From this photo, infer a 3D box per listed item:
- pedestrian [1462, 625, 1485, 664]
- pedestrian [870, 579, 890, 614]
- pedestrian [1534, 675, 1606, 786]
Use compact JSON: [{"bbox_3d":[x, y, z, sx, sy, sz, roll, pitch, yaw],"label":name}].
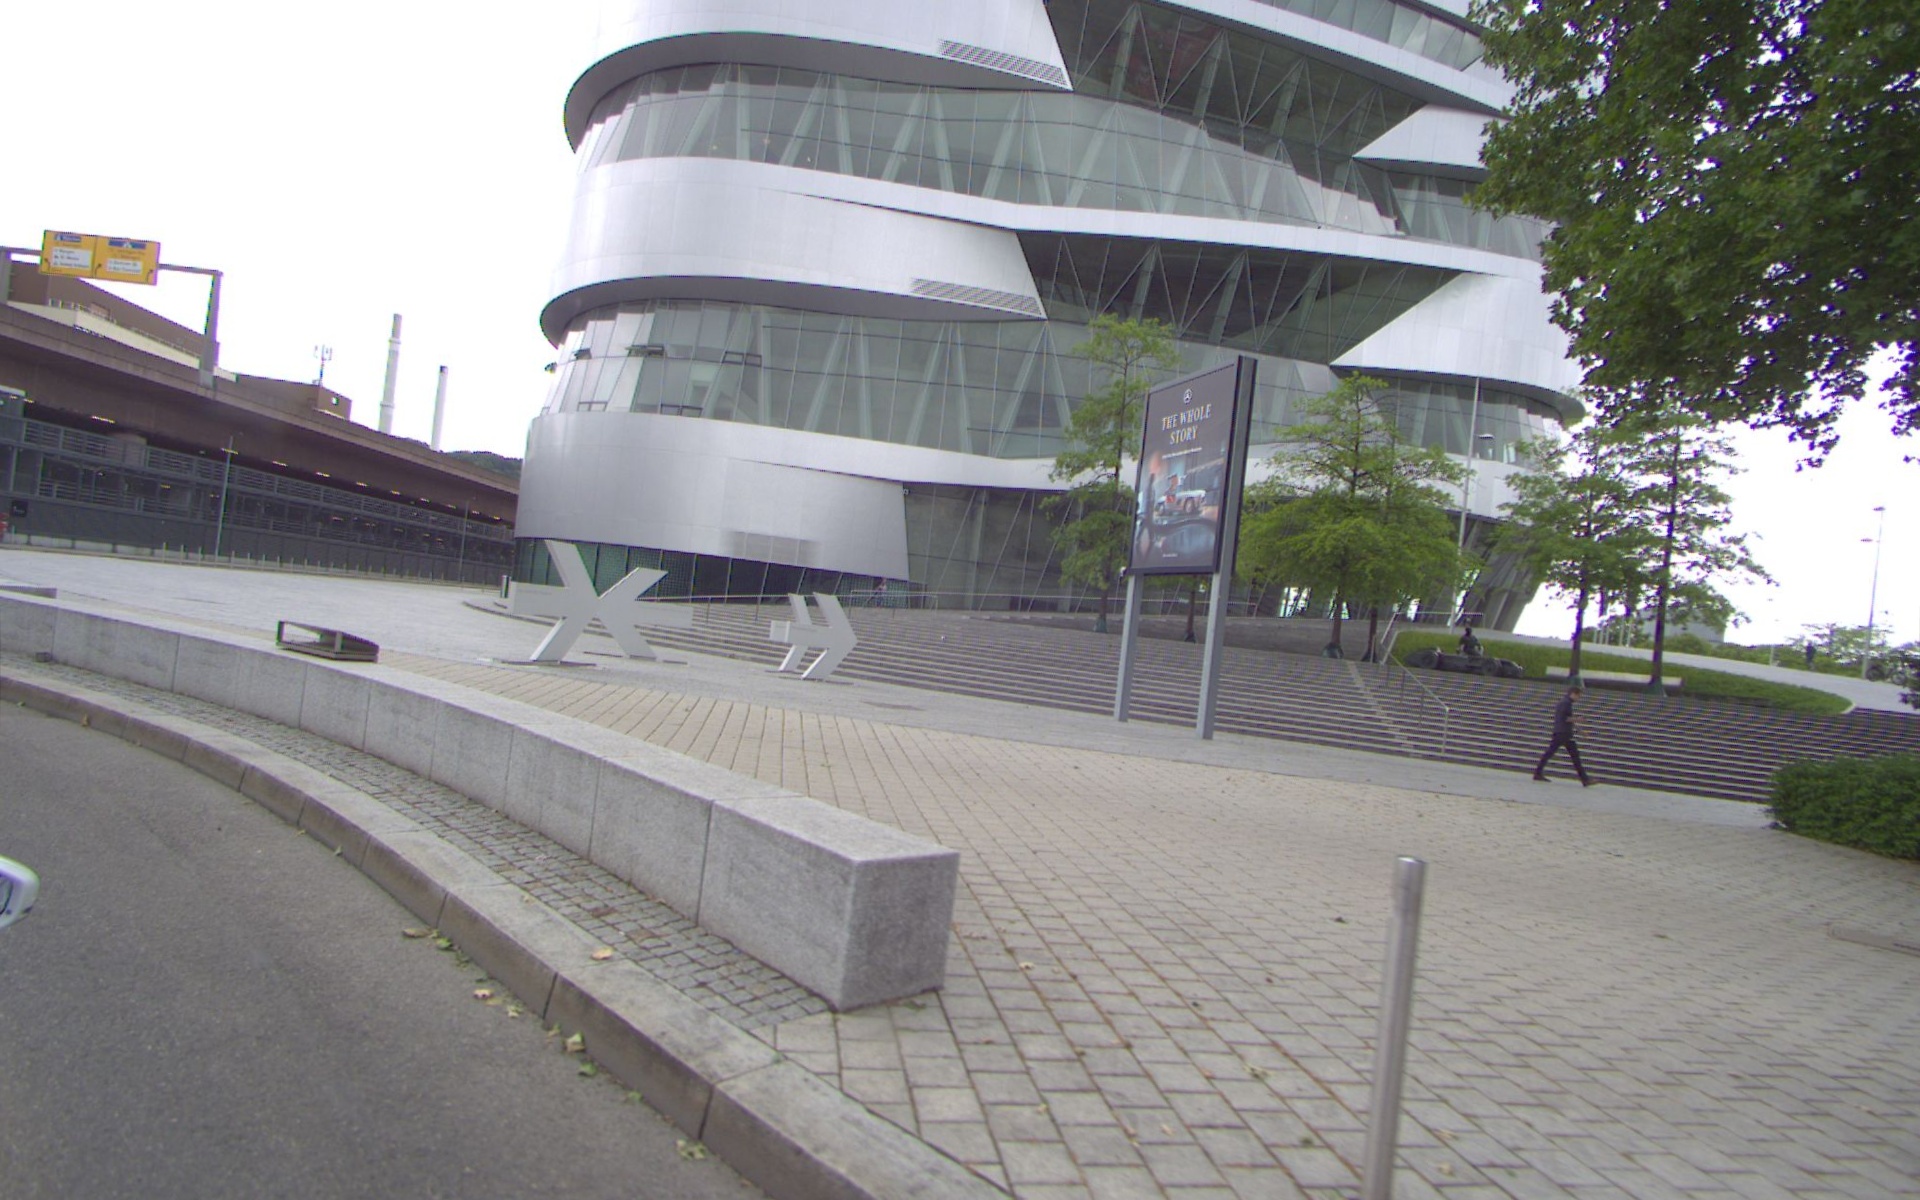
[{"bbox_3d":[17.883,1.557,35.046,0.494,1.283,0.618,6,-2,16],"label":"pedestrian"},{"bbox_3d":[-4.378,-0.191,55.138,0.709,1.843,0.617,7,-2,-35],"label":"pedestrian"},{"bbox_3d":[10.788,2.298,17.807,0.613,1.843,0.714,6,-1,-14],"label":"pedestrian"}]
